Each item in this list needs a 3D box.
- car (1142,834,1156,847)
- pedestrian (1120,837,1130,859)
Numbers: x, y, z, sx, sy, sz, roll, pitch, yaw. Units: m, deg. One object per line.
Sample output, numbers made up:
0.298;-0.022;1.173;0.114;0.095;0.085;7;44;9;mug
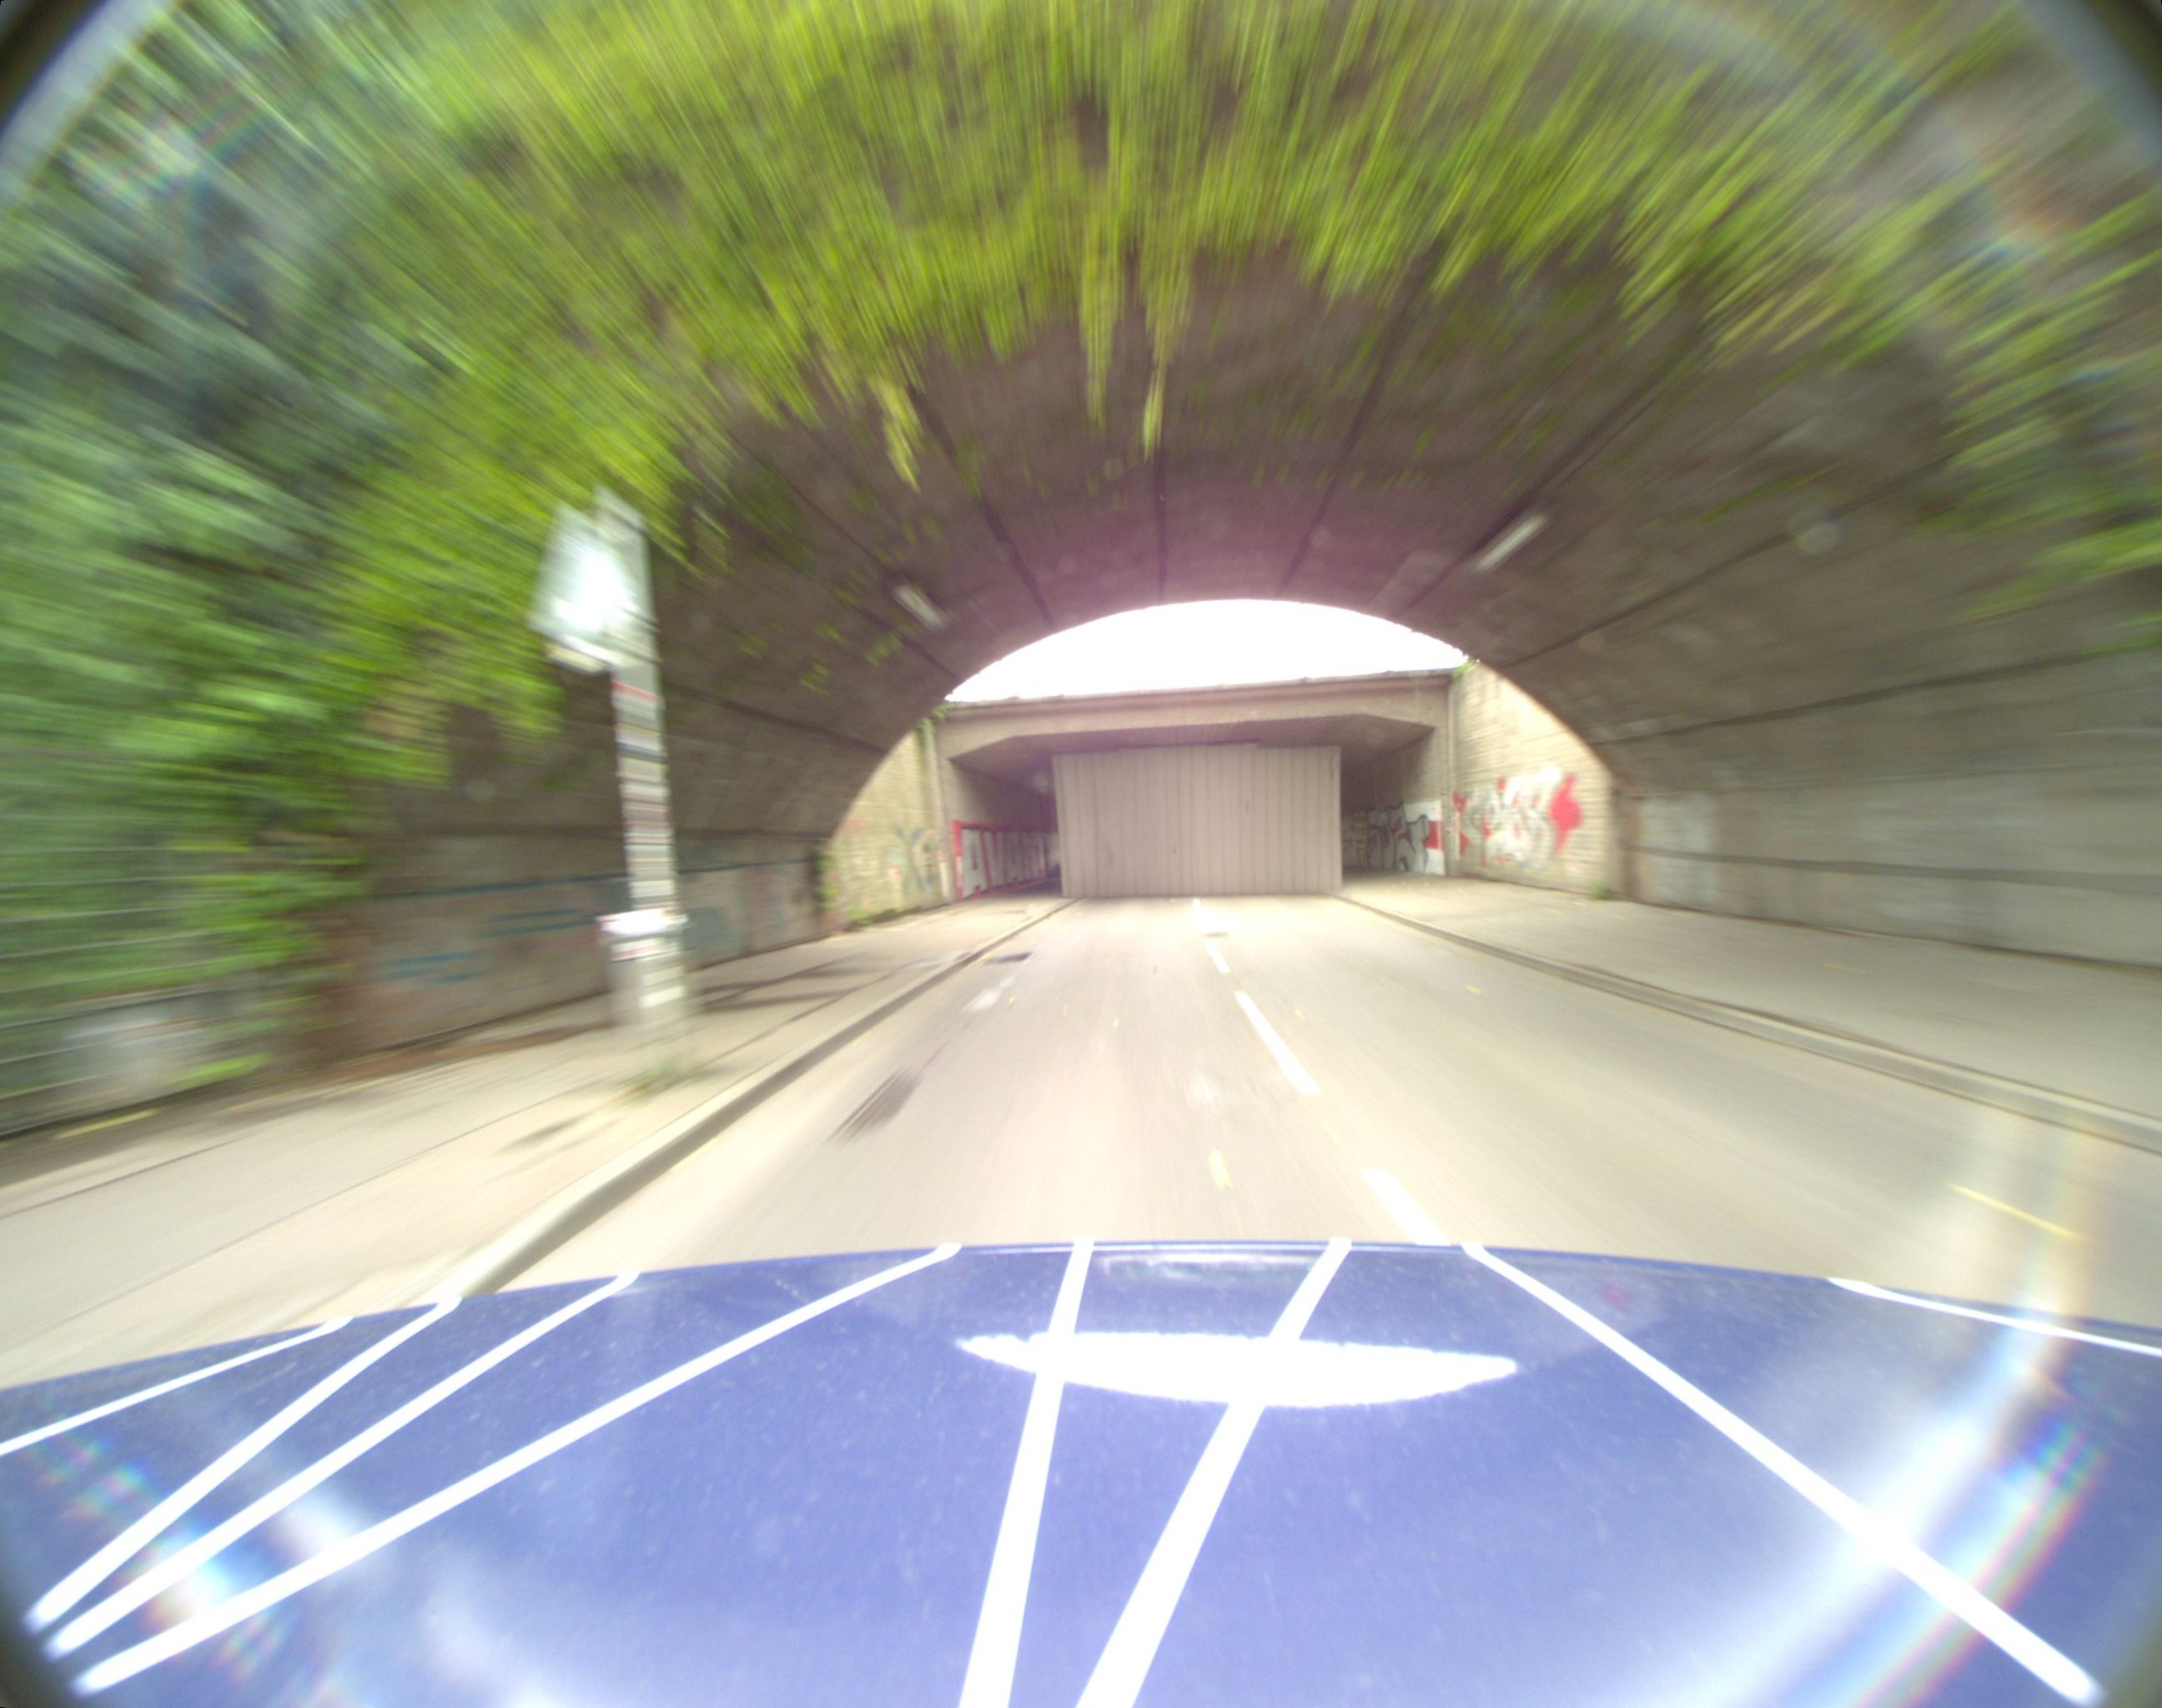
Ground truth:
9.653;-1.925;107.870;1.806;1.601;4.175;-2;3;4;car
3.666;-0.506;63.596;0.821;1.869;1.180;-1;2;1;pedestrian
